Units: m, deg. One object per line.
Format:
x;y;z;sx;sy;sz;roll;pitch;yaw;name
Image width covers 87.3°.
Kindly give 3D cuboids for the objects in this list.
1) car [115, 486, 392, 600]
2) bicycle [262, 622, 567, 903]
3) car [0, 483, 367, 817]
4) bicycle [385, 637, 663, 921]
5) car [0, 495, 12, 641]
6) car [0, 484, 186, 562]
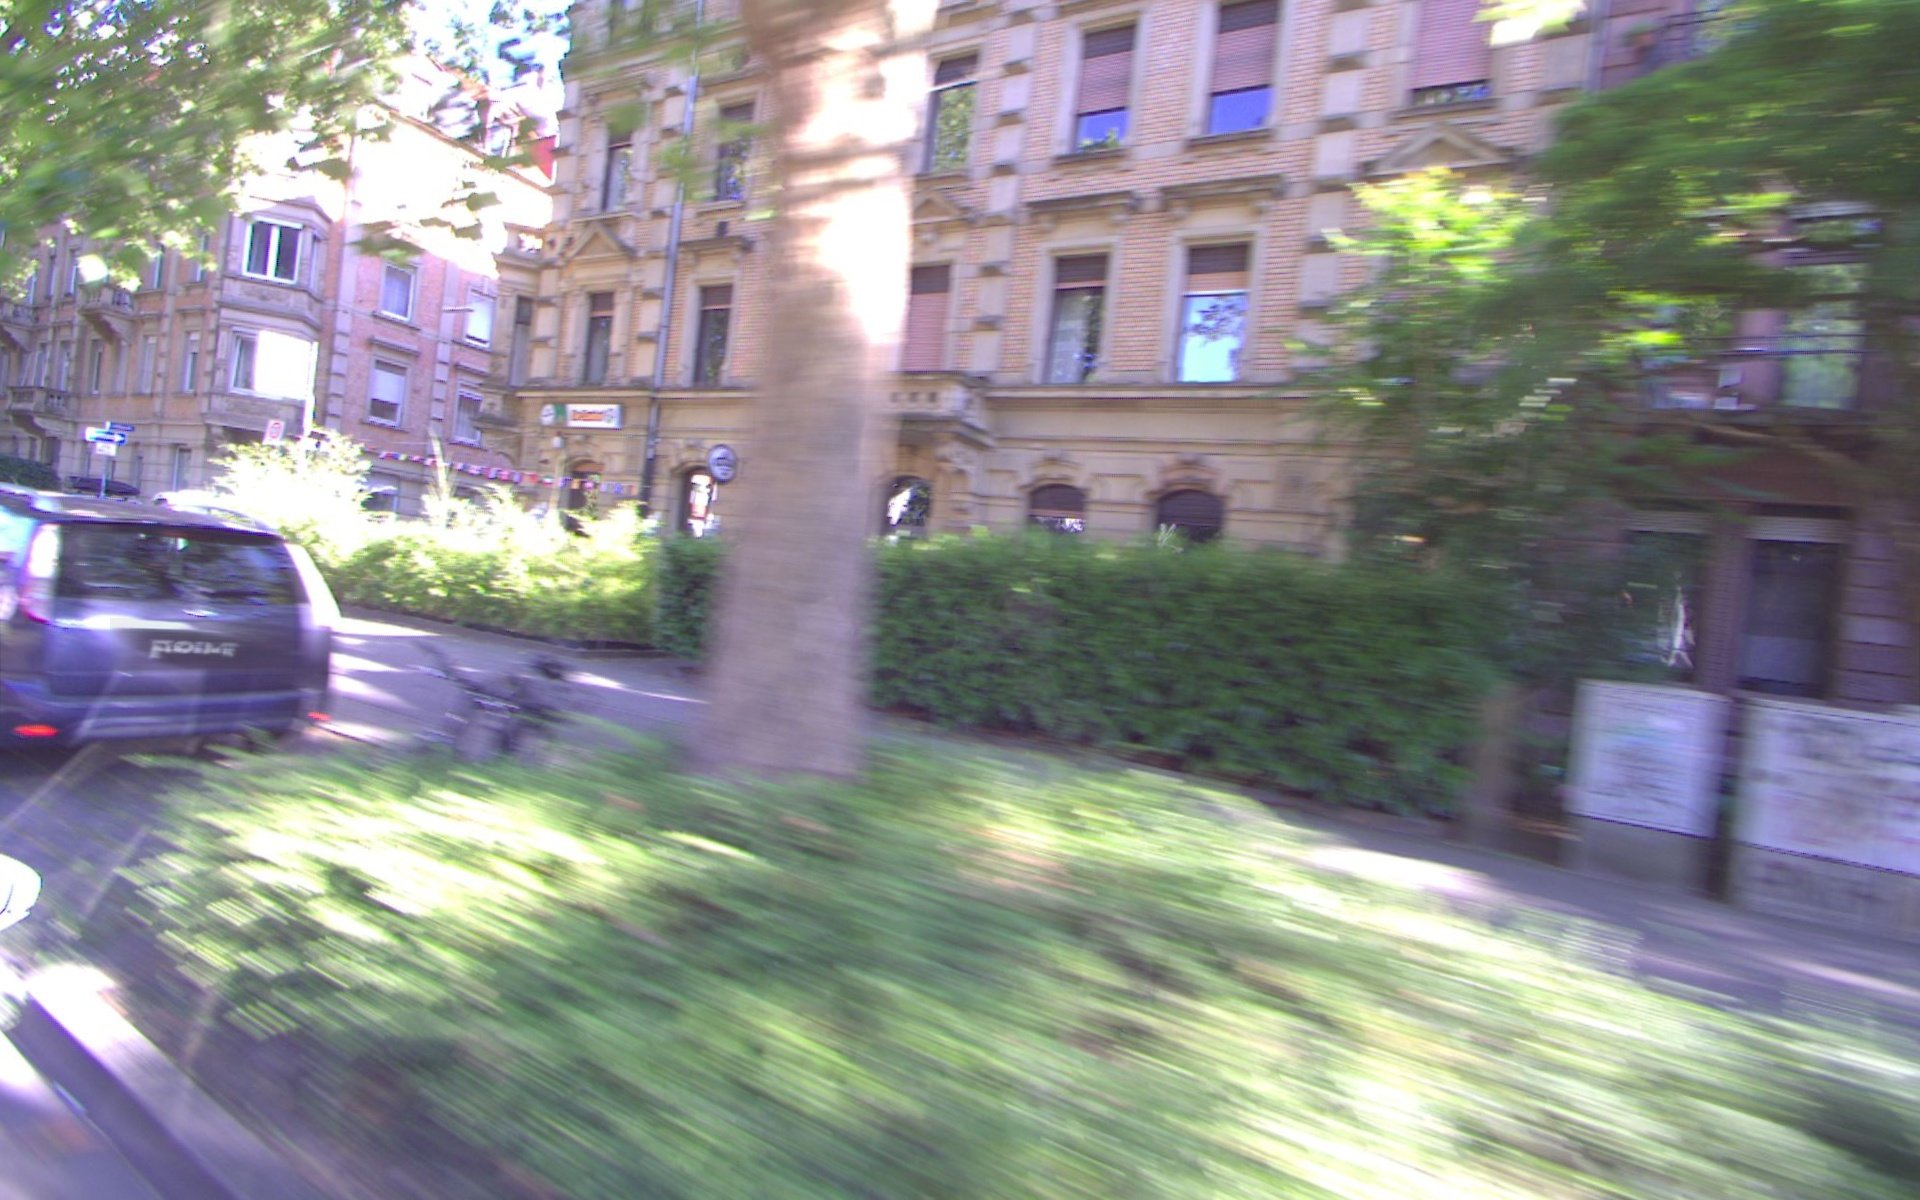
-16.782;-1.272;24.221;1.965;2.039;4.993;7;0;28;car
-2.621;0.709;5.051;0.500;1.055;1.600;9;2;2;bicycle
-5.753;0.076;6.357;4.113;1.530;1.645;7;1;32;car
-2.081;0.787;5.046;0.532;1.039;1.600;9;2;2;bicycle
-11.180;-0.543;9.894;4.113;1.390;1.645;7;1;32;car
-21.781;-1.903;24.593;1.965;1.438;3.994;7;0;28;car
